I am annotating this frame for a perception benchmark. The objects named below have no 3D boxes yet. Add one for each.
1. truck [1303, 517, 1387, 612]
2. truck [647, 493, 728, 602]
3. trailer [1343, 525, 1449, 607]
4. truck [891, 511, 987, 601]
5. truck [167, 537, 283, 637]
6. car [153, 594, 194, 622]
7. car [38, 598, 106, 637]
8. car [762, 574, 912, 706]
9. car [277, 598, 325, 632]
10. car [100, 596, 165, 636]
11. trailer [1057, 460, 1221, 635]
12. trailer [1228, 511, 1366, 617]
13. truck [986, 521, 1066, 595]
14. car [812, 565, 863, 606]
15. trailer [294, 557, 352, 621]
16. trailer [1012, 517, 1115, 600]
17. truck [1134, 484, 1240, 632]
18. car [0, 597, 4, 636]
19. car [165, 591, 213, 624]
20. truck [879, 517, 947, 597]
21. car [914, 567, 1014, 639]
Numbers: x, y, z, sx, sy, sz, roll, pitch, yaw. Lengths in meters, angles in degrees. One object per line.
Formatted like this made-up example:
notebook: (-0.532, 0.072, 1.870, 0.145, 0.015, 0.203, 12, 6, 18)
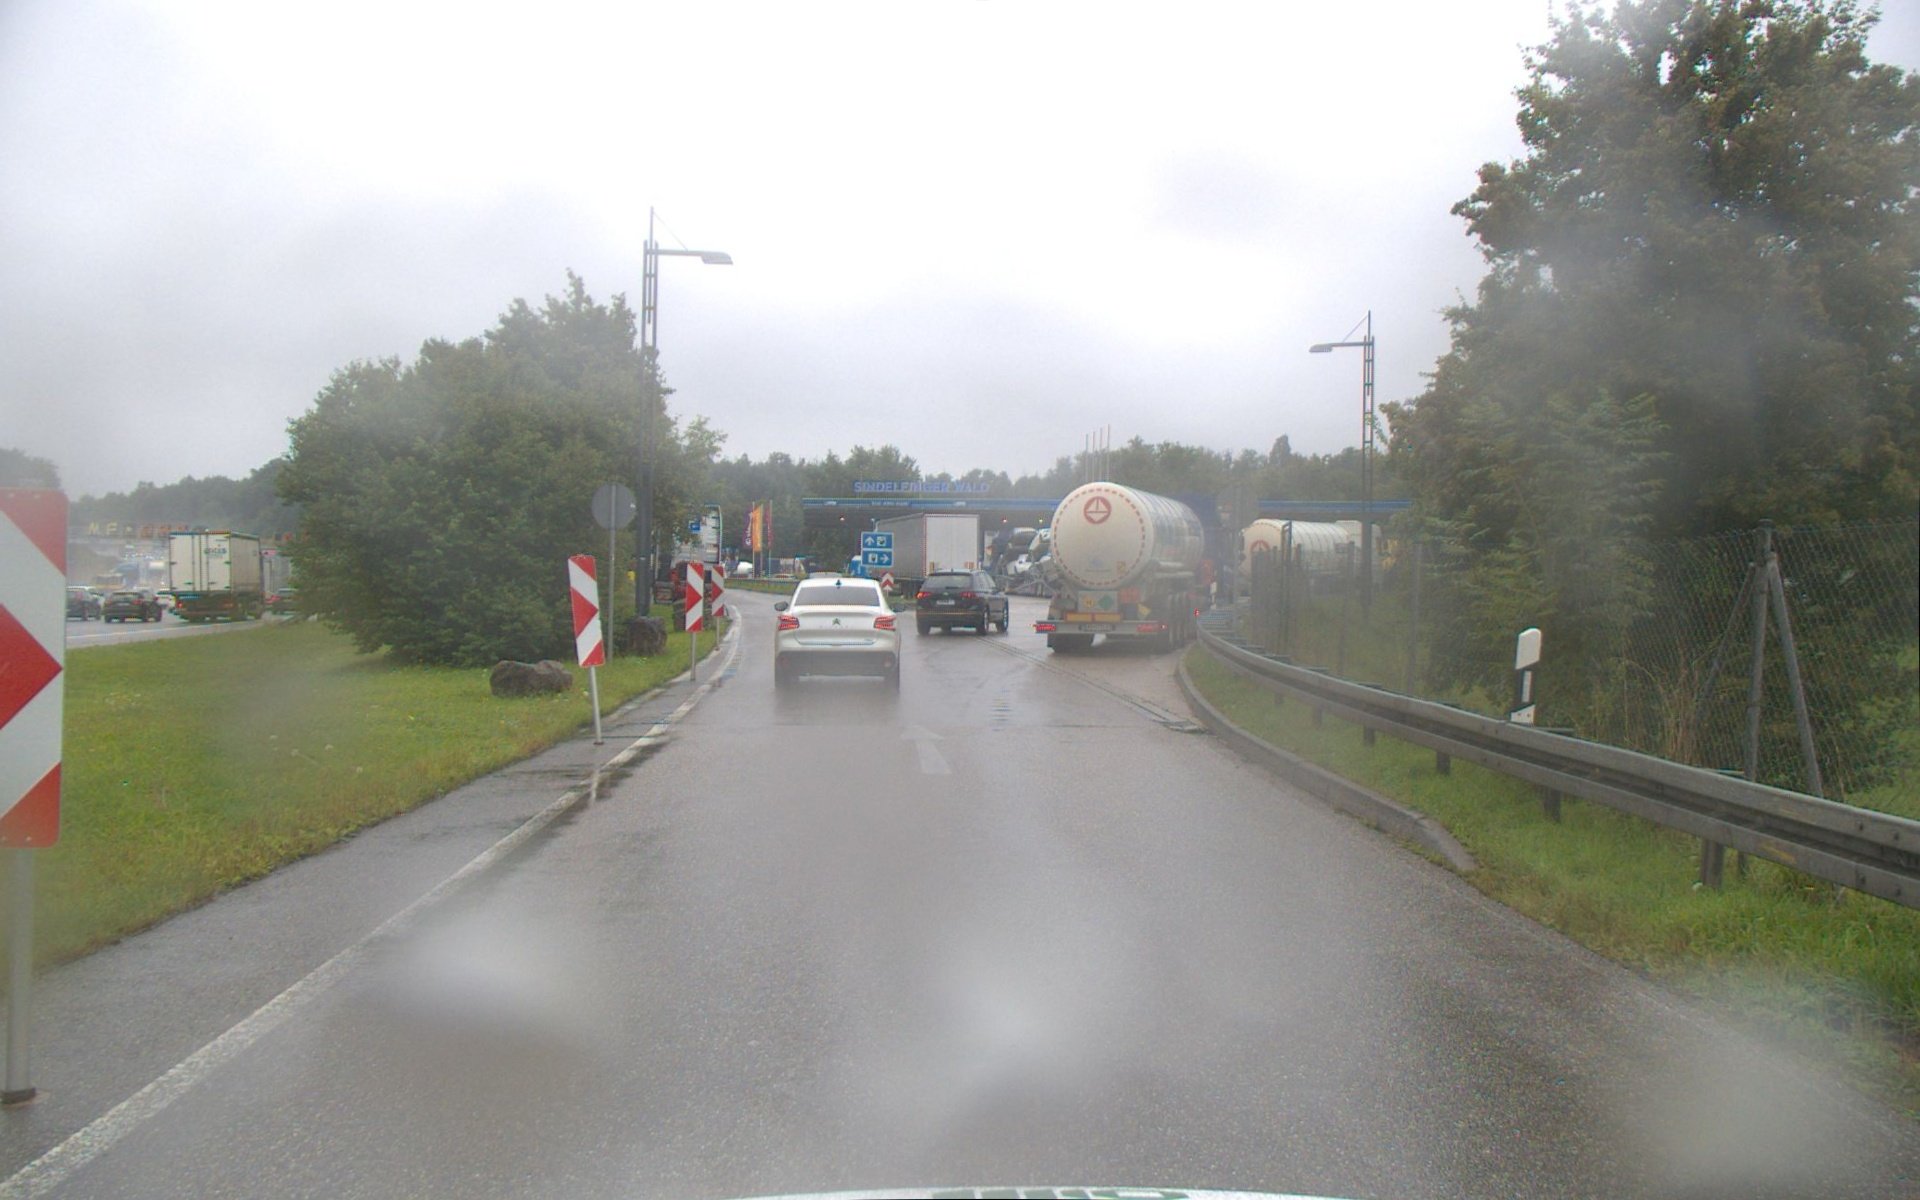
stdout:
truck: (15.138, -1.386, 64.925, 2.105, 3.574, 4.640, 1, 1, 28)
truck: (-10.550, -1.979, 63.565, 2.863, 3.972, 6.299, 0, 1, -11)
trailer: (19.453, -1.498, 73.449, 2.145, 3.451, 7.539, 1, 1, 35)
truck: (-1.177, -2.093, 79.126, 2.329, 3.941, 12.420, 0, 1, -12)
truck: (-34.373, -0.496, 77.862, 2.800, 4.368, 11.801, 0, -1, -13)
car: (-58.364, 0.616, 122.837, 1.959, 2.049, 3.986, 0, 0, -14)
car: (-42.495, 0.806, 79.245, 1.745, 1.766, 4.087, -1, 0, -12)
car: (-1.684, 0.535, 23.648, 1.953, 1.708, 3.998, 0, 0, -2)
car: (-38.966, 0.866, 97.890, 1.960, 1.847, 3.986, 3, -1, -13)
car: (-37.460, 0.718, 74.967, 1.745, 1.766, 3.834, 0, 0, -13)
trailer: (4.165, -1.064, 36.303, 1.938, 3.280, 10.329, 1, 1, 15)
trailer: (12.265, -1.268, 59.367, 2.090, 3.500, 10.240, 1, 1, 28)
truck: (3.977, -2.606, 102.096, 3.175, 4.261, 8.426, 1, 1, -10)
car: (-4.661, -0.551, 62.895, 1.842, 1.487, 3.996, 1, 1, -5)
trailer: (-48.771, -0.768, 126.842, 3.493, 4.693, 12.057, 0, 0, -18)
trailer: (5.618, -2.335, 92.263, 3.157, 4.261, 11.505, 1, 1, -9)
truck: (5.930, -1.068, 42.771, 2.009, 3.592, 4.749, 1, 1, 16)
car: (-44.165, 0.740, 73.480, 1.745, 1.766, 4.086, 0, 0, -13)
car: (-50.198, 0.499, 107.803, 1.960, 2.049, 3.986, 3, -1, -13)
truck: (-2.505, -2.208, 85.596, 2.329, 3.941, 6.992, 0, 1, -12)
car: (0.151, 0.116, 43.018, 1.705, 1.696, 4.003, 3, -1, 12)
